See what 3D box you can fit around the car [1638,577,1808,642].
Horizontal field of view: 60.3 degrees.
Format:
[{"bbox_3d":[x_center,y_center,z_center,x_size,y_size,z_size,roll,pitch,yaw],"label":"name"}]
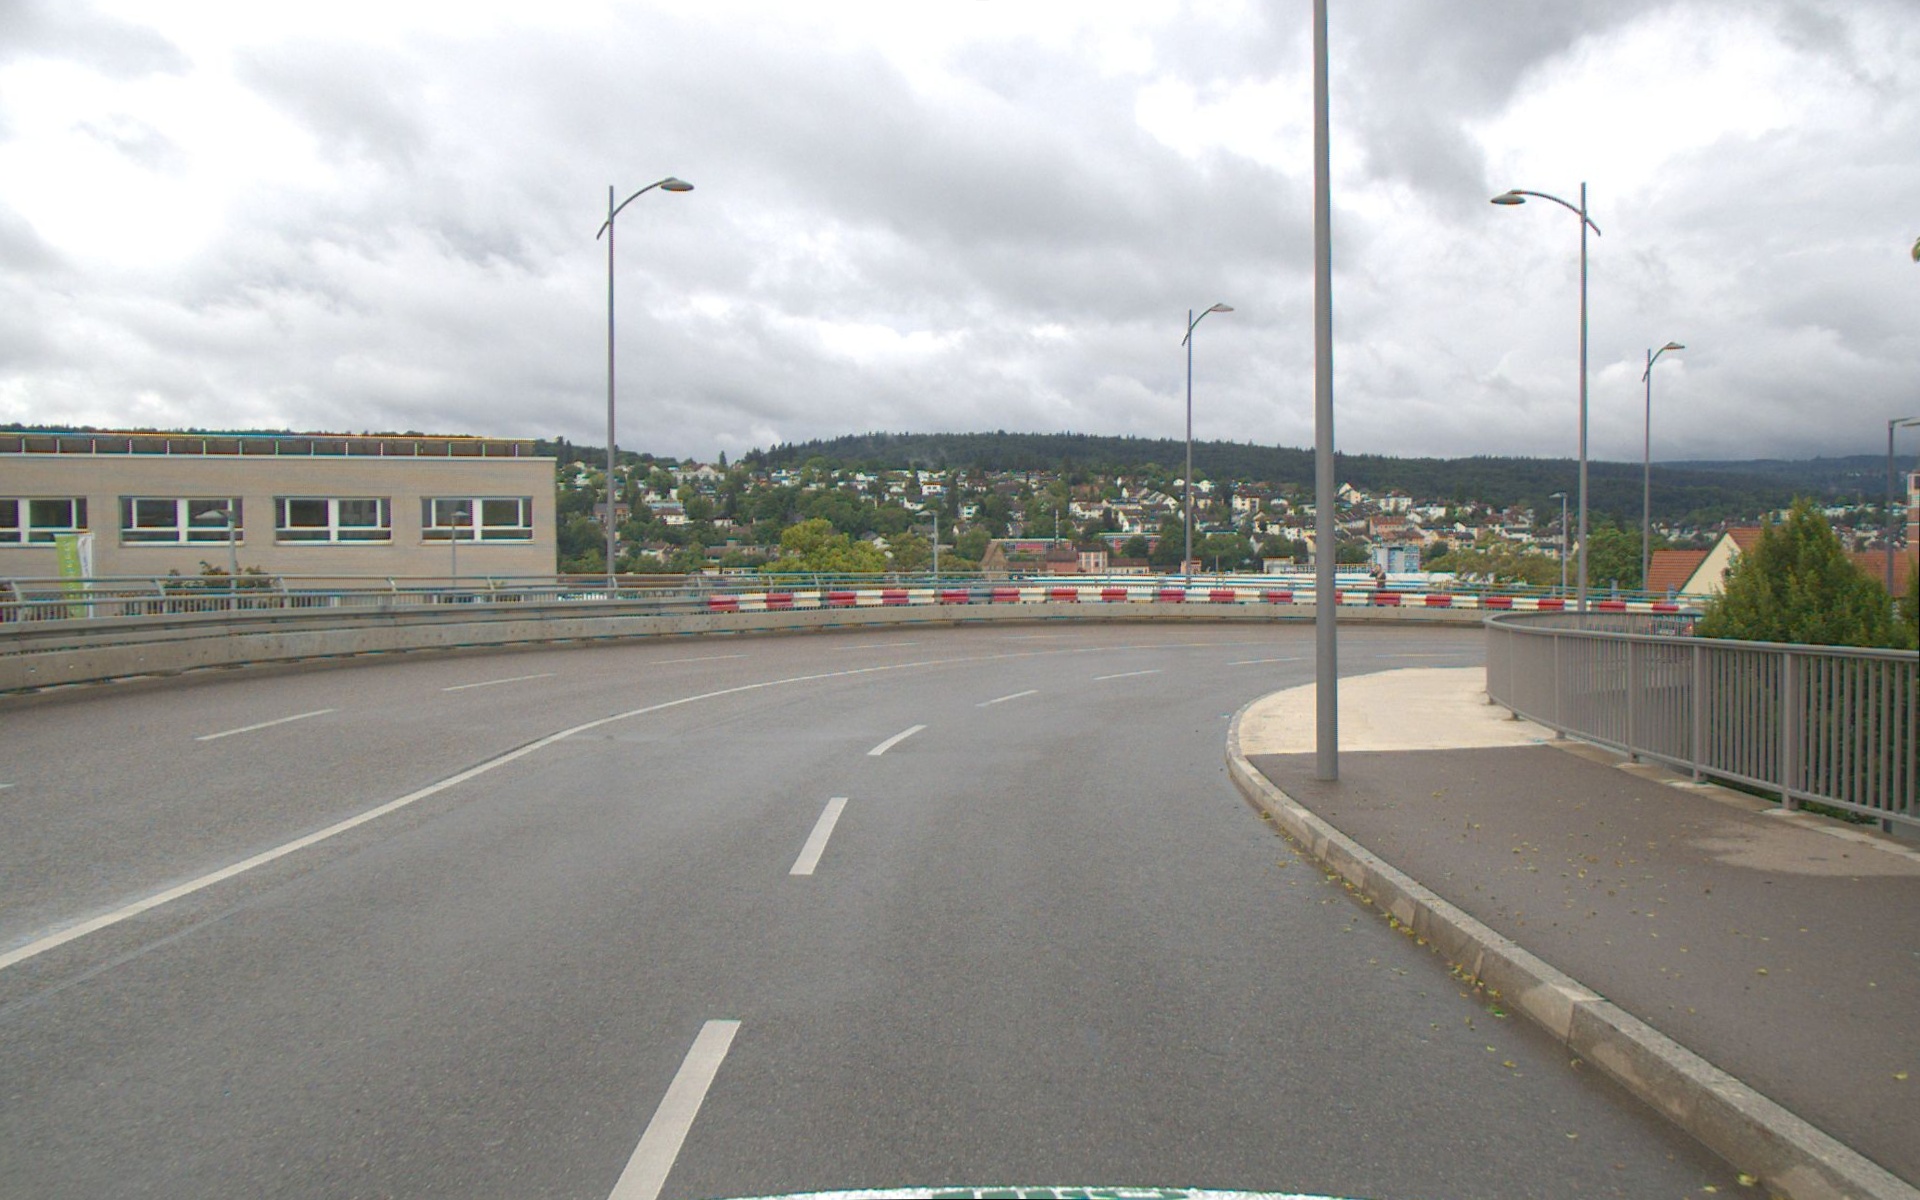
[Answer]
[{"bbox_3d":[18.165,0.198,39.388,3.665,1.444,1.699,0,2,-24],"label":"car"}]
